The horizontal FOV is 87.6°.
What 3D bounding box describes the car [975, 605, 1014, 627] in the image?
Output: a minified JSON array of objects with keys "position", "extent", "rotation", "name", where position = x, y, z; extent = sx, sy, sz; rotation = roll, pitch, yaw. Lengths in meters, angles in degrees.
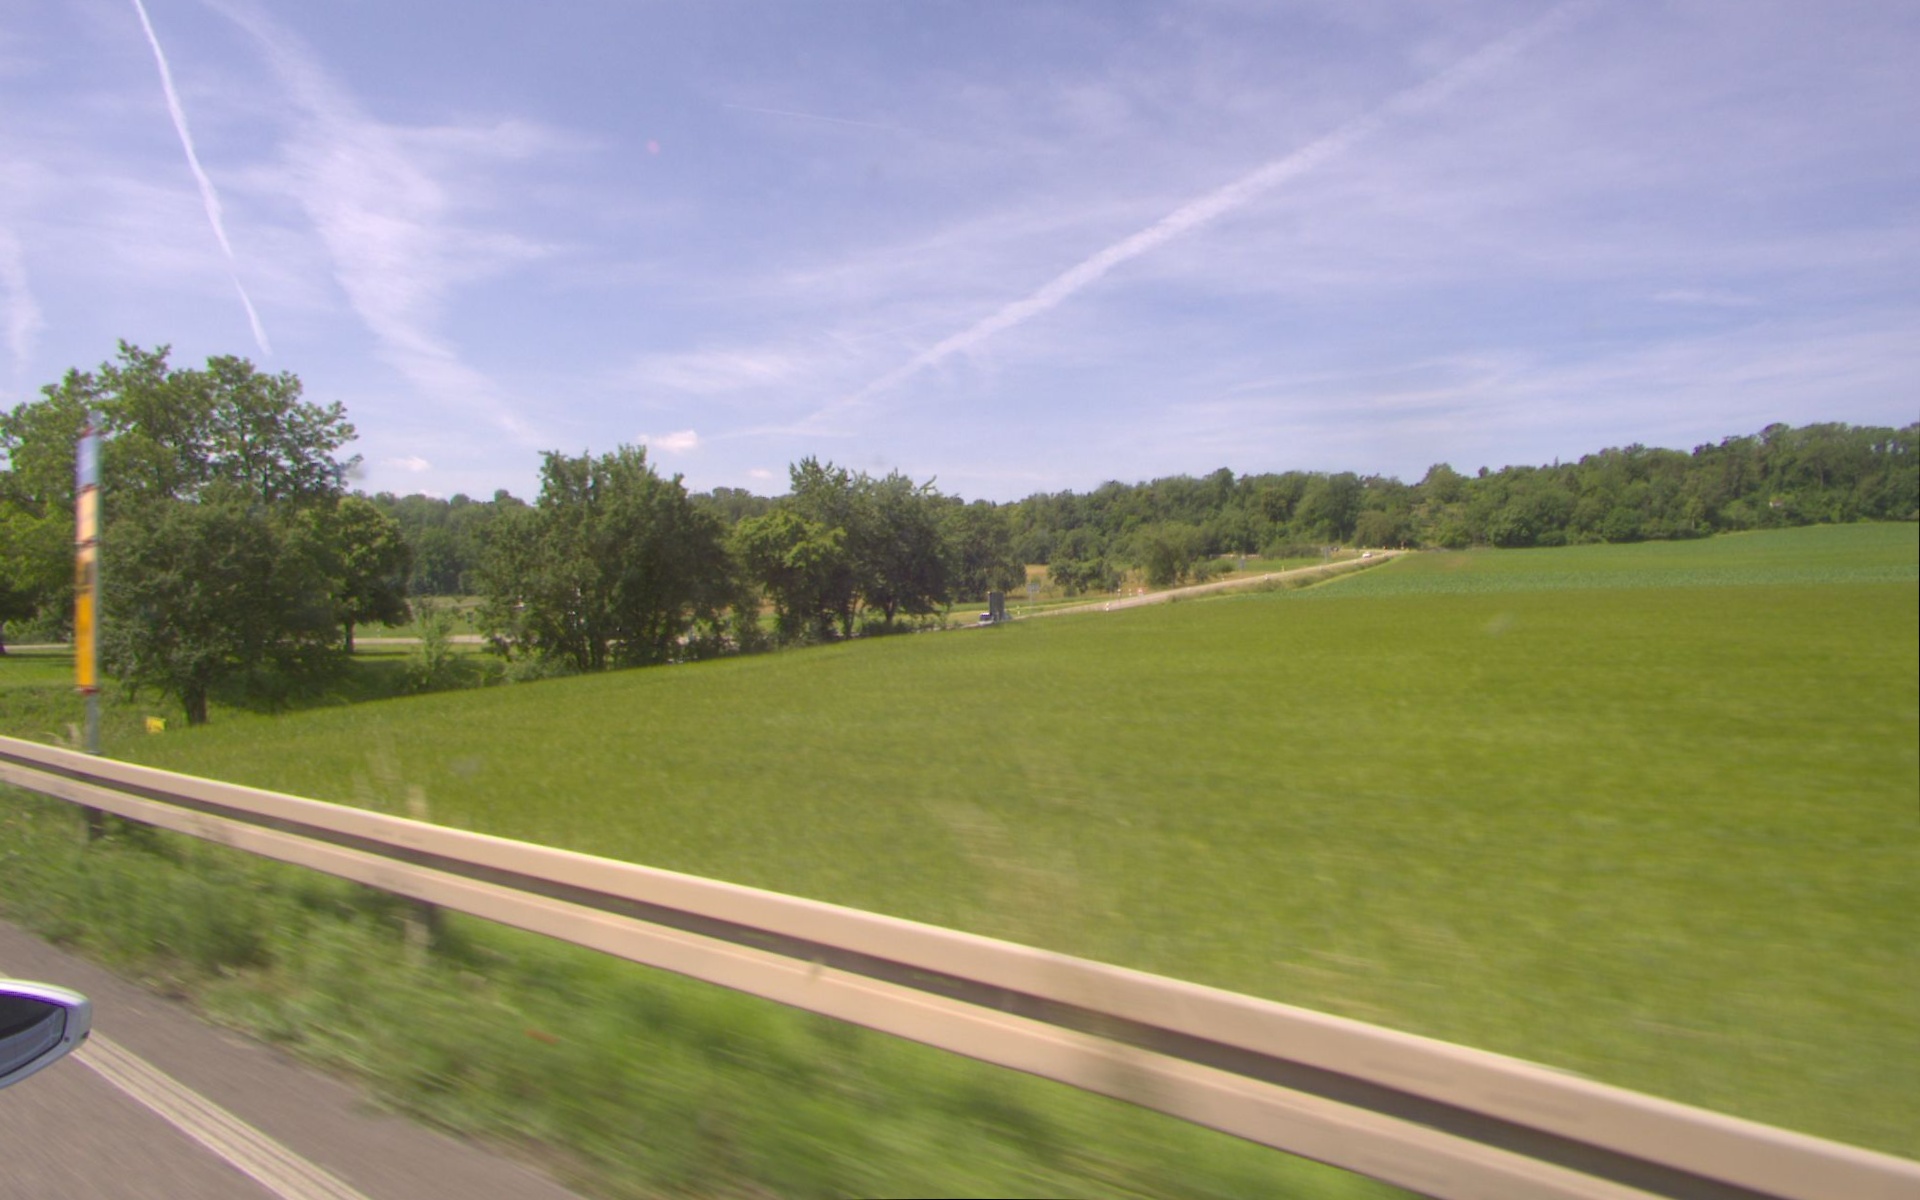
[{"position":[2.985,1.367,86.236],"extent":[1.783,1.572,3.979],"rotation":[0,4,29],"name":"car"}]
